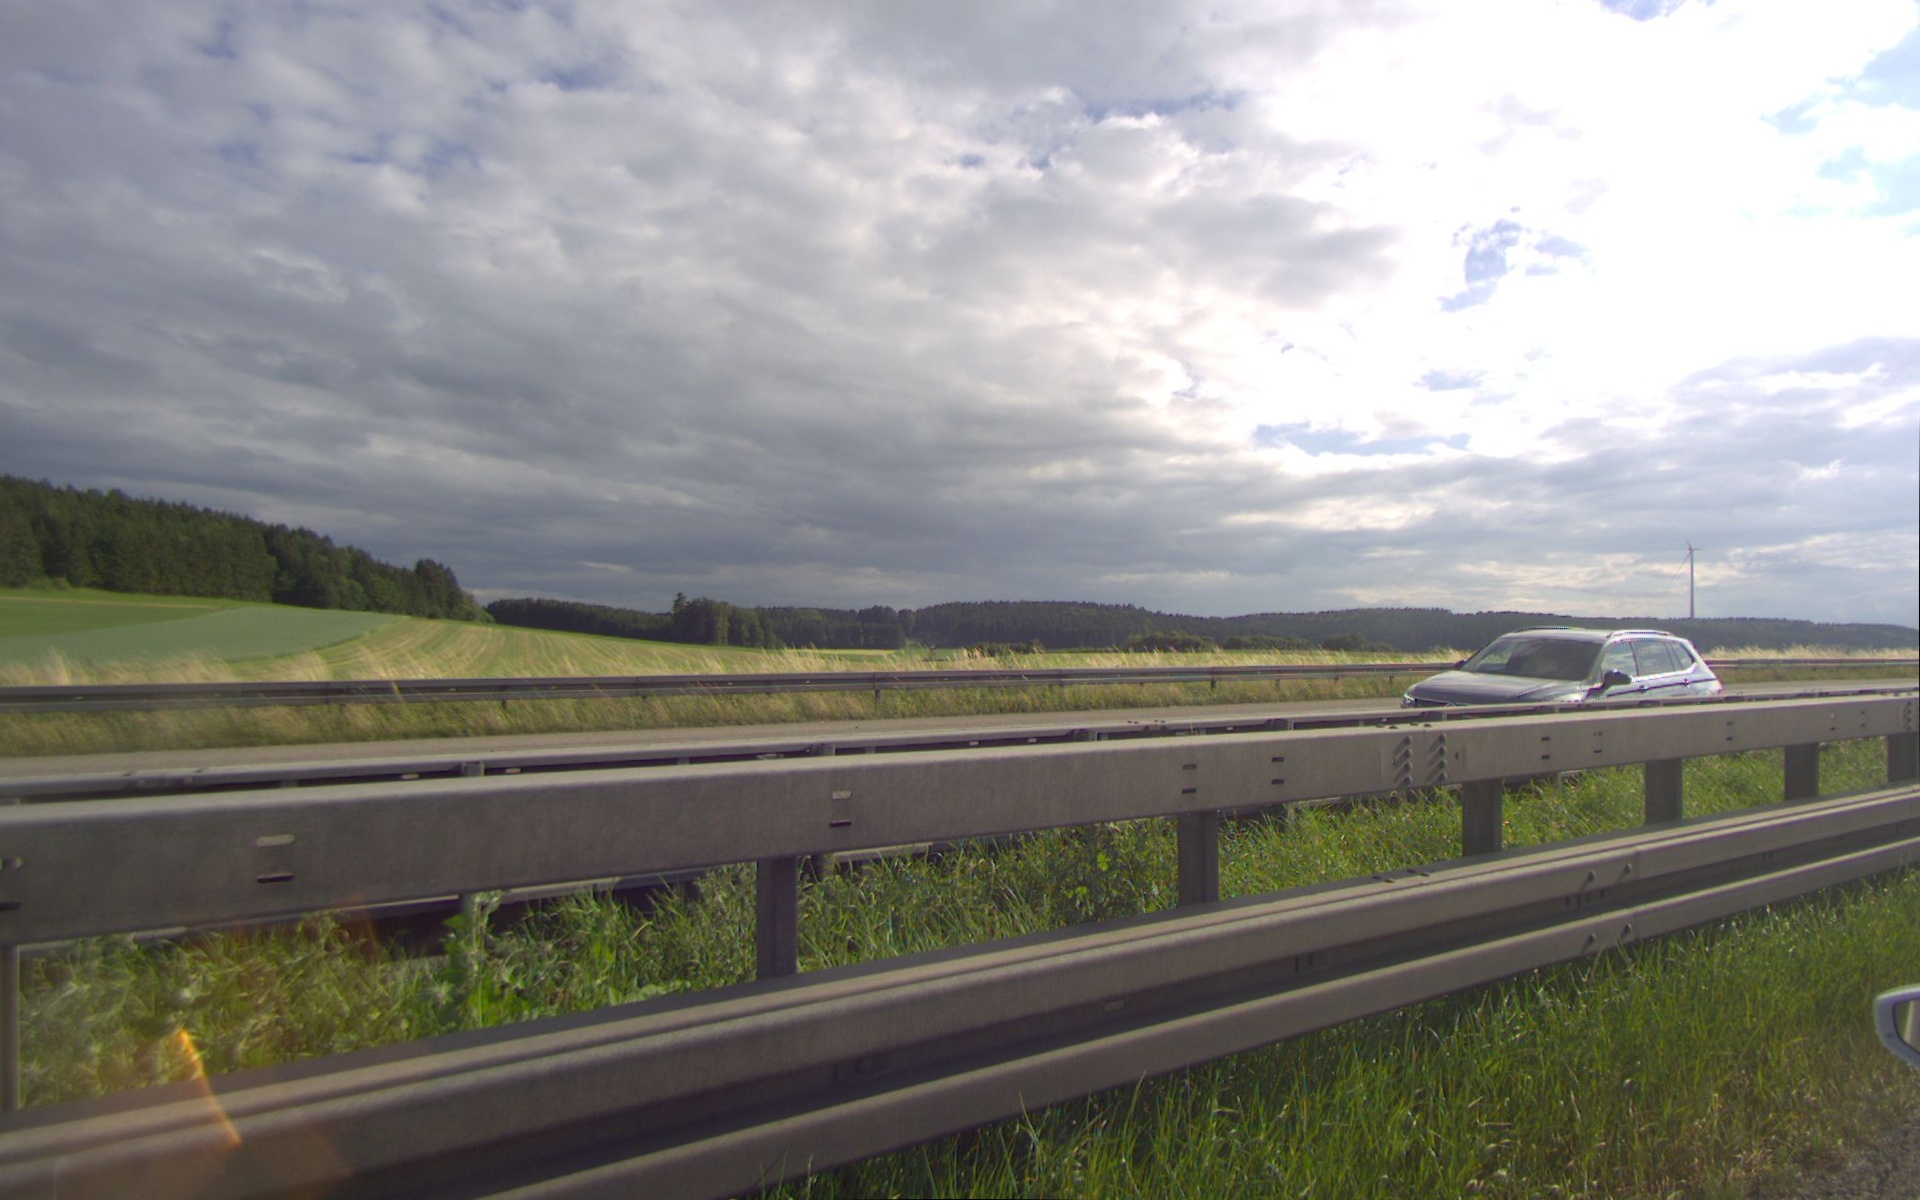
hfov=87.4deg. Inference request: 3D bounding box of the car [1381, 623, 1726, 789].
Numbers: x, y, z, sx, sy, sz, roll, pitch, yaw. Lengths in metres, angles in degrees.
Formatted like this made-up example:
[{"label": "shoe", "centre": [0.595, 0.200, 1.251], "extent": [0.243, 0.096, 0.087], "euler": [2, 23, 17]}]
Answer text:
[{"label": "car", "centre": [7.120, 1.152, 11.950], "extent": [4.217, 1.624, 1.740], "euler": [2, -1, -31]}]
